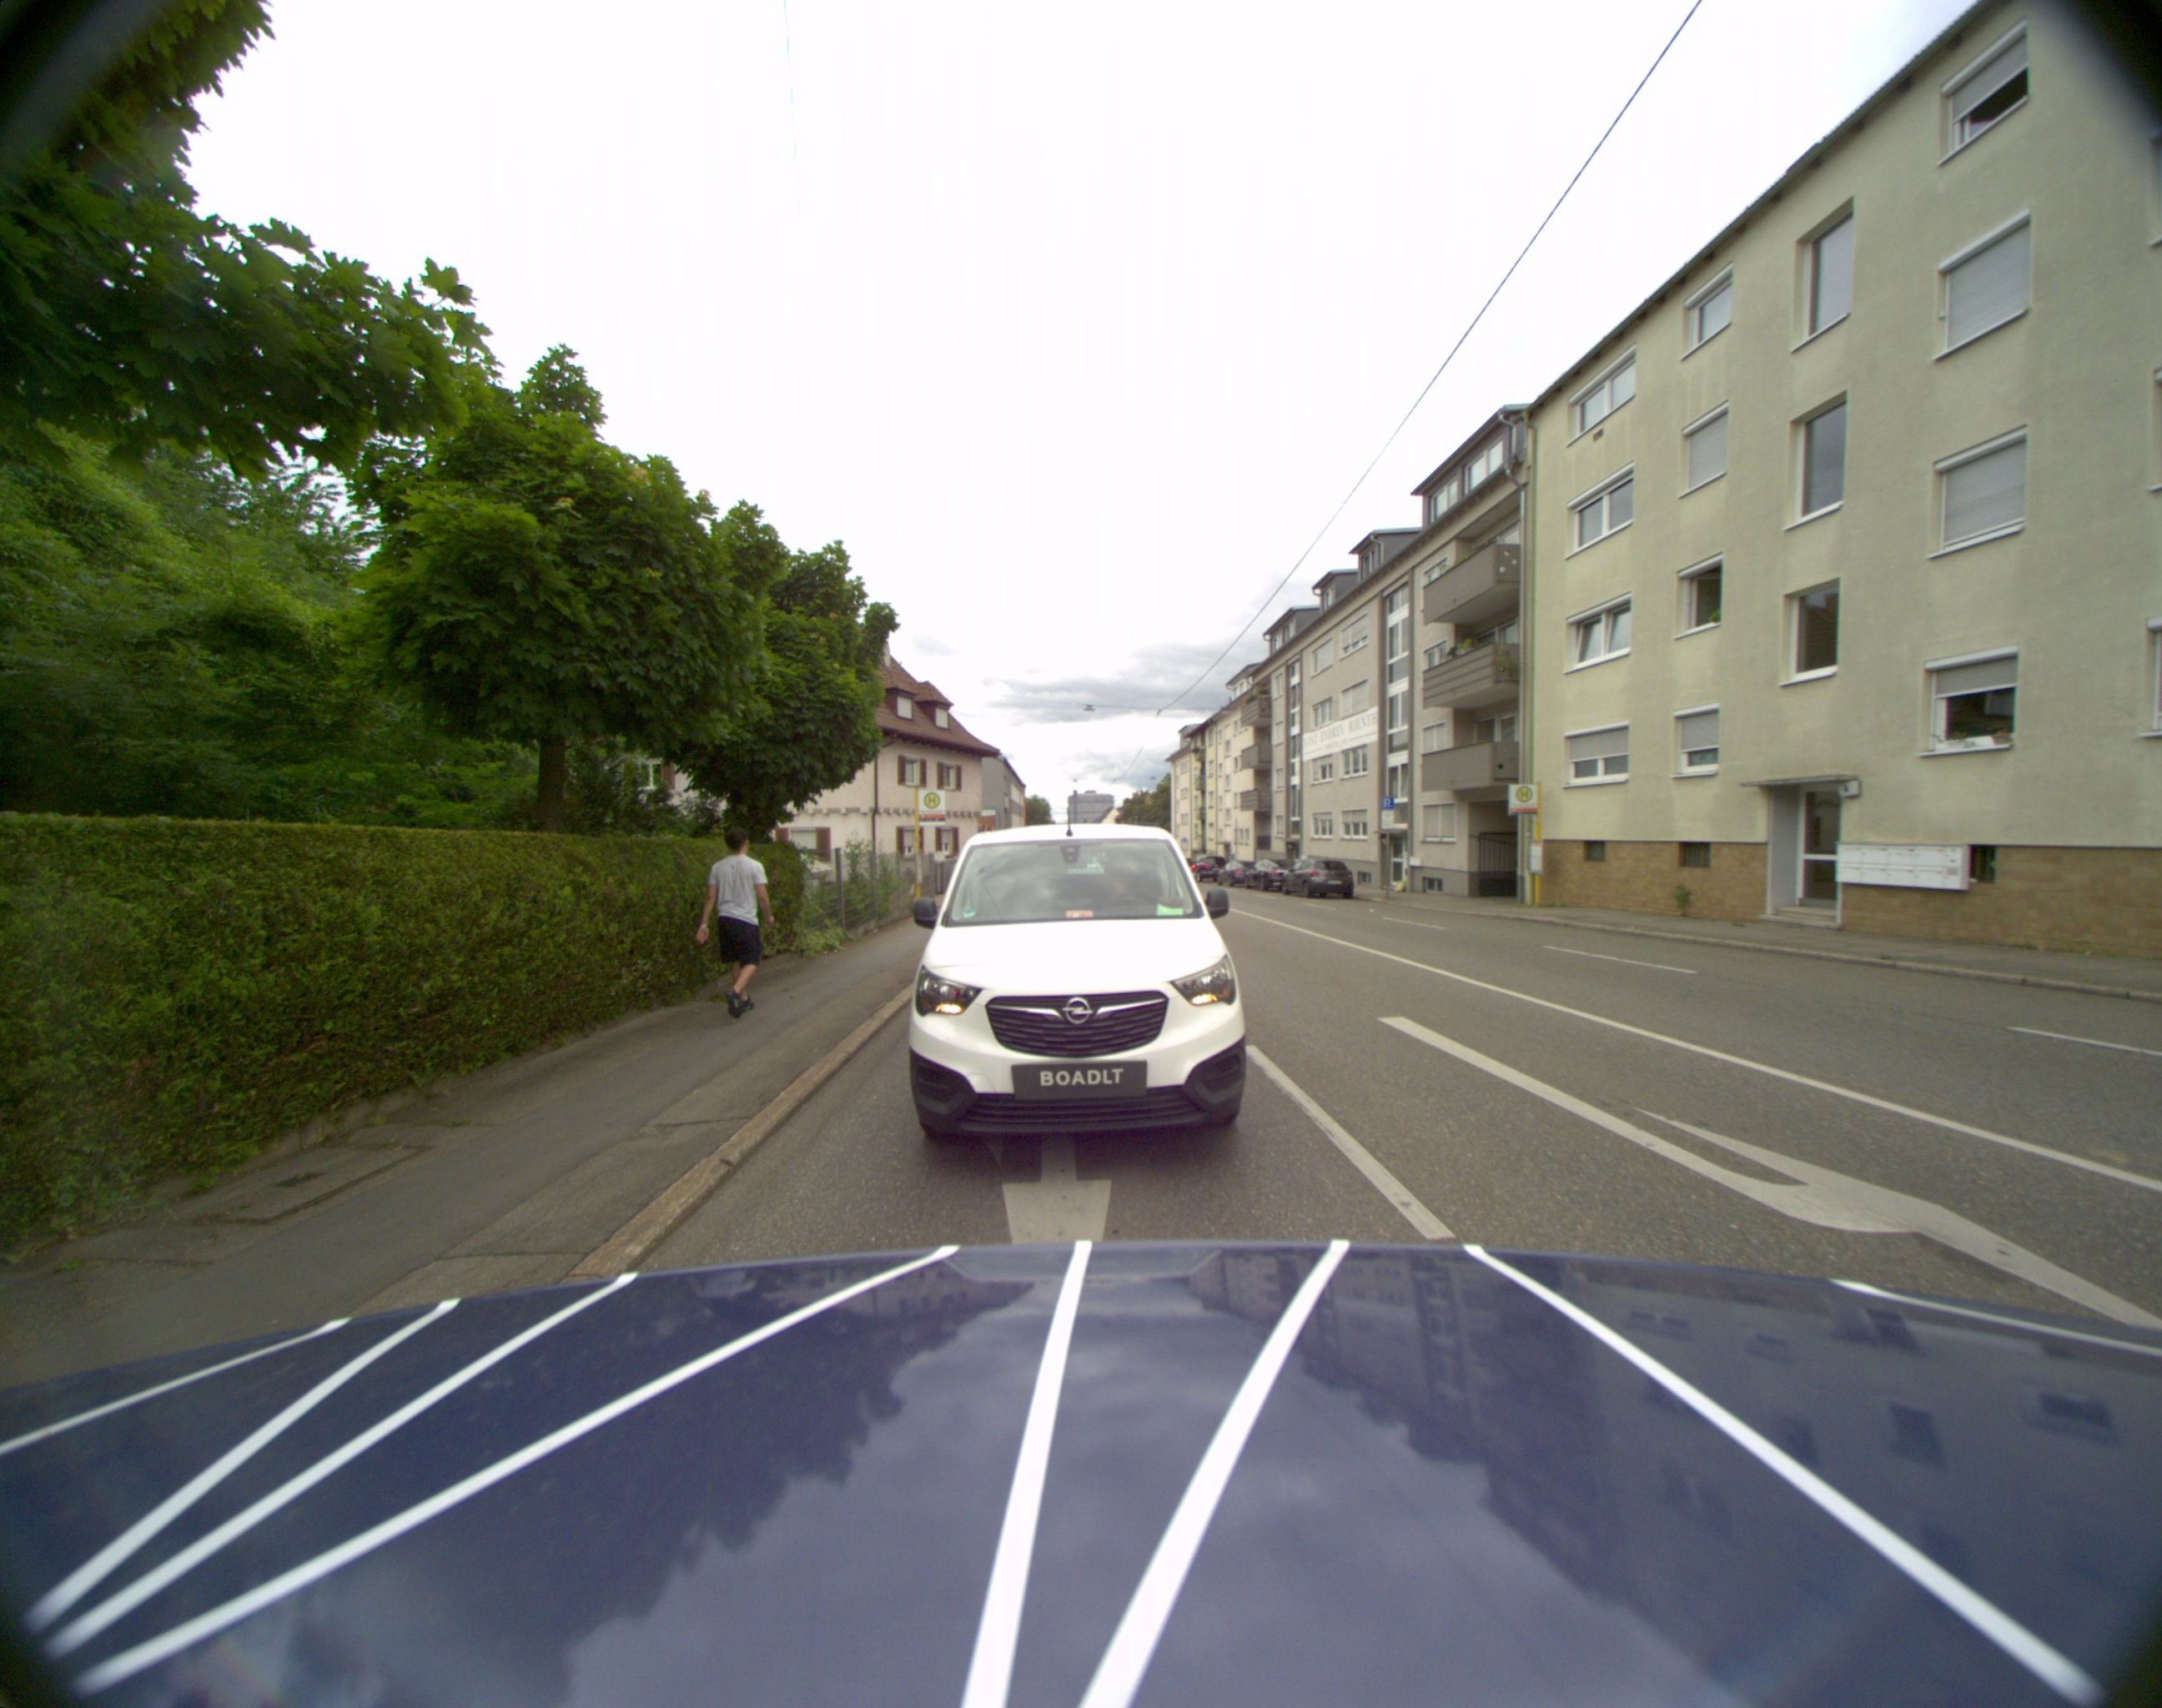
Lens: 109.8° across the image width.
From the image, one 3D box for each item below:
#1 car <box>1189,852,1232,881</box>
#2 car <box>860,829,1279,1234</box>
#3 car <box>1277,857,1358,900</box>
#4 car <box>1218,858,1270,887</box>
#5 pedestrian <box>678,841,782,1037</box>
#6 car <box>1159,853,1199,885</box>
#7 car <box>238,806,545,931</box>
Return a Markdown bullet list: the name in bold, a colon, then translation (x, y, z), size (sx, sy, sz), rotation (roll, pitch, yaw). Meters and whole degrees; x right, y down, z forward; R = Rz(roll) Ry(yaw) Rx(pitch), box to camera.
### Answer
- **car**: translation (8.317, 0.748, 49.118), size (1.875, 1.743, 4.306), rotation (2, 0, -2)
- **car**: translation (-0.105, 0.777, 5.413), size (1.803, 1.736, 3.999), rotation (-3, 1, -2)
- **car**: translation (8.881, 0.877, 28.853), size (1.773, 1.428, 3.800), rotation (2, 0, -2)
- **car**: translation (8.493, 0.946, 39.945), size (1.772, 1.397, 4.307), rotation (0, 0, 0)
- **pedestrian**: translation (-3.224, 0.756, 7.012), size (0.695, 1.728, 0.467), rotation (2, 1, -1)
- **car**: translation (5.202, 0.763, 40.800), size (1.713, 1.608, 4.000), rotation (2, 0, 3)
- **car**: translation (-12.825, 0.219, 14.341), size (1.994, 2.002, 4.008), rotation (-1, 0, 40)
